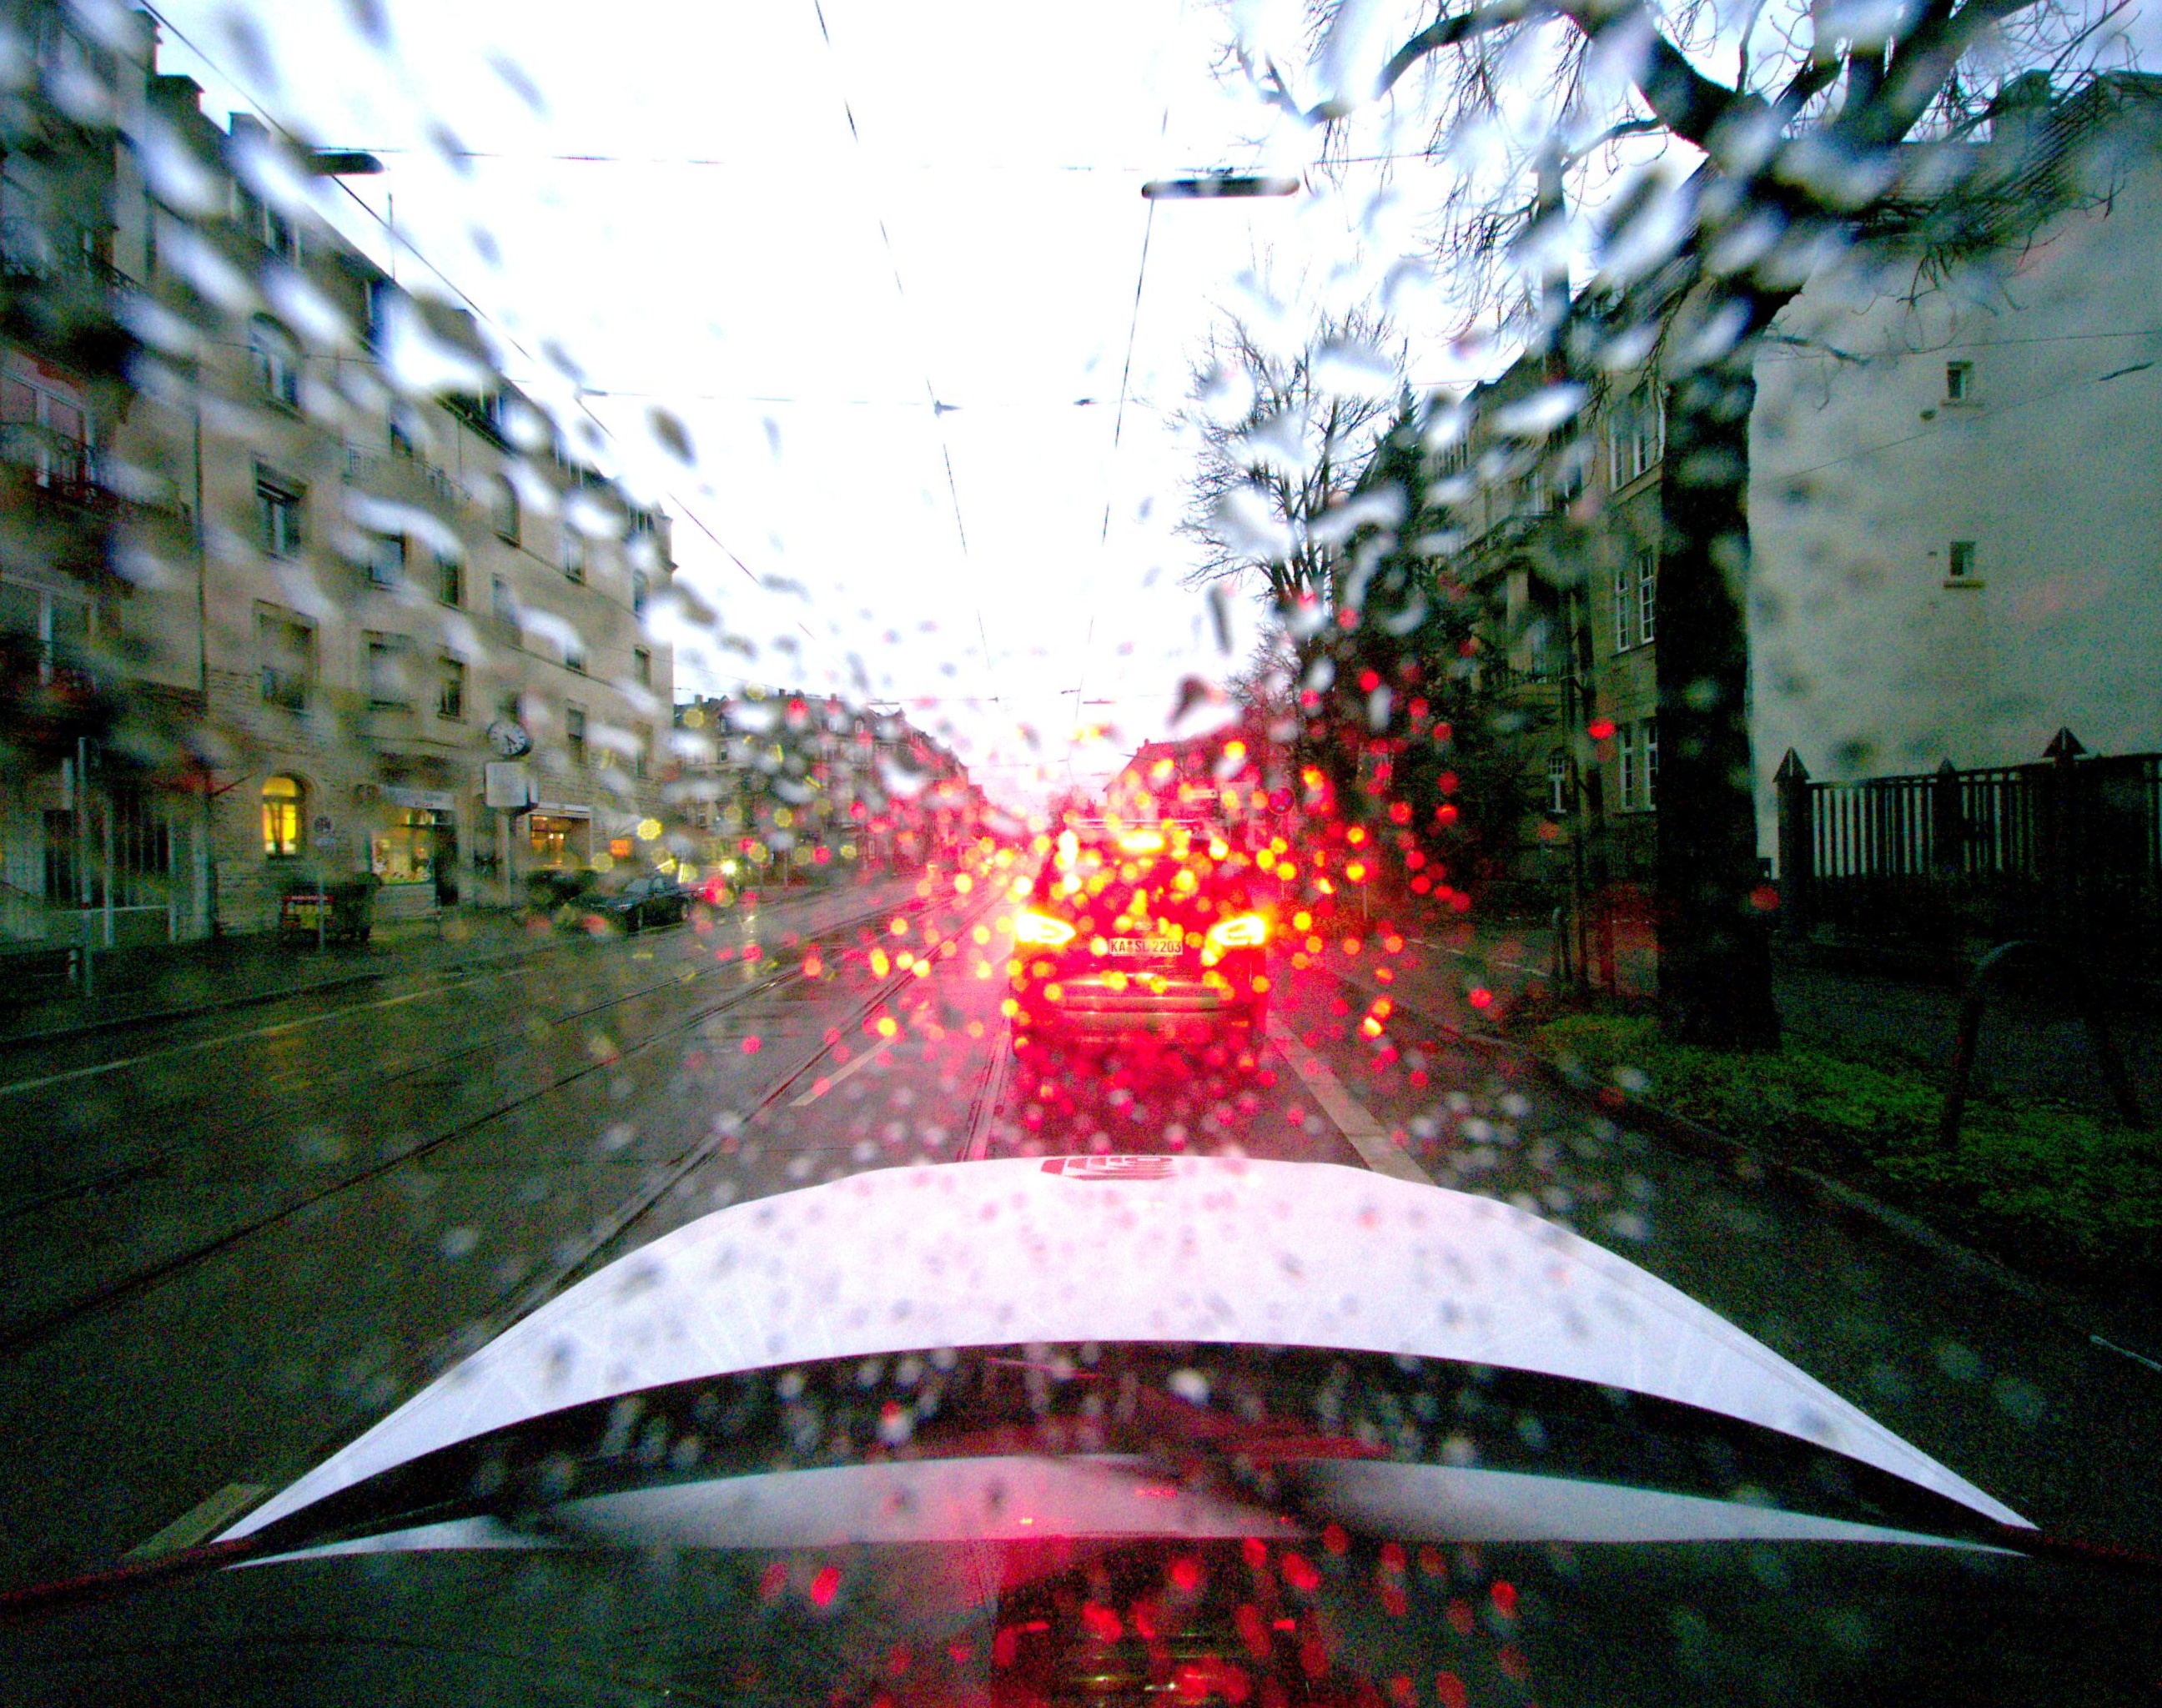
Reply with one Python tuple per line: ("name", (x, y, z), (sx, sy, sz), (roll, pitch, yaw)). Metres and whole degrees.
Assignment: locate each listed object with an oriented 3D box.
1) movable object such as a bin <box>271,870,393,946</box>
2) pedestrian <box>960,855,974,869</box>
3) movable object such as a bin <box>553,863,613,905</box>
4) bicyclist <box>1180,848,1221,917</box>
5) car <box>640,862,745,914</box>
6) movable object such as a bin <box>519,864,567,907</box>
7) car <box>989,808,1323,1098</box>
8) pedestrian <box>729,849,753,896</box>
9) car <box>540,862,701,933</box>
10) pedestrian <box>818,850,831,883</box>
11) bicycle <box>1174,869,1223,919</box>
("movable object such as a bin", (-15.063, 1.066, 16.434), (1.264, 1.420, 1.249), (-1, 0, -2))
("pedestrian", (-9.578, 0.676, 68.358), (1.044, 1.200, 0.884), (-1, -1, -1))
("movable object such as a bin", (-17.346, 1.037, 28.407), (1.290, 1.367, 1.251), (-1, 0, -2))
("bicyclist", (2.952, 0.691, 20.248), (0.716, 1.662, 1.054), (2, 0, -6))
("car", (-13.365, 1.127, 28.322), (2.035, 1.551, 4.022), (2, 0, -7))
("movable object such as a bin", (-17.854, 1.043, 27.059), (0.896, 1.377, 1.006), (-1, 0, -2))
("car", (0.489, 0.615, 7.455), (2.097, 1.816, 4.660), (0, 0, 0))
("pedestrian", (-14.974, 0.807, 35.894), (0.748, 2.014, 0.652), (-1, -1, 34))
("car", (-12.476, 1.100, 22.477), (1.982, 1.645, 4.623), (3, -1, -4))
("pedestrian", (-15.911, 0.778, 50.510), (0.707, 2.013, 0.656), (-1, 0, -21))
("bicycle", (2.924, 0.980, 20.403), (0.716, 1.112, 1.937), (2, 0, -6))
